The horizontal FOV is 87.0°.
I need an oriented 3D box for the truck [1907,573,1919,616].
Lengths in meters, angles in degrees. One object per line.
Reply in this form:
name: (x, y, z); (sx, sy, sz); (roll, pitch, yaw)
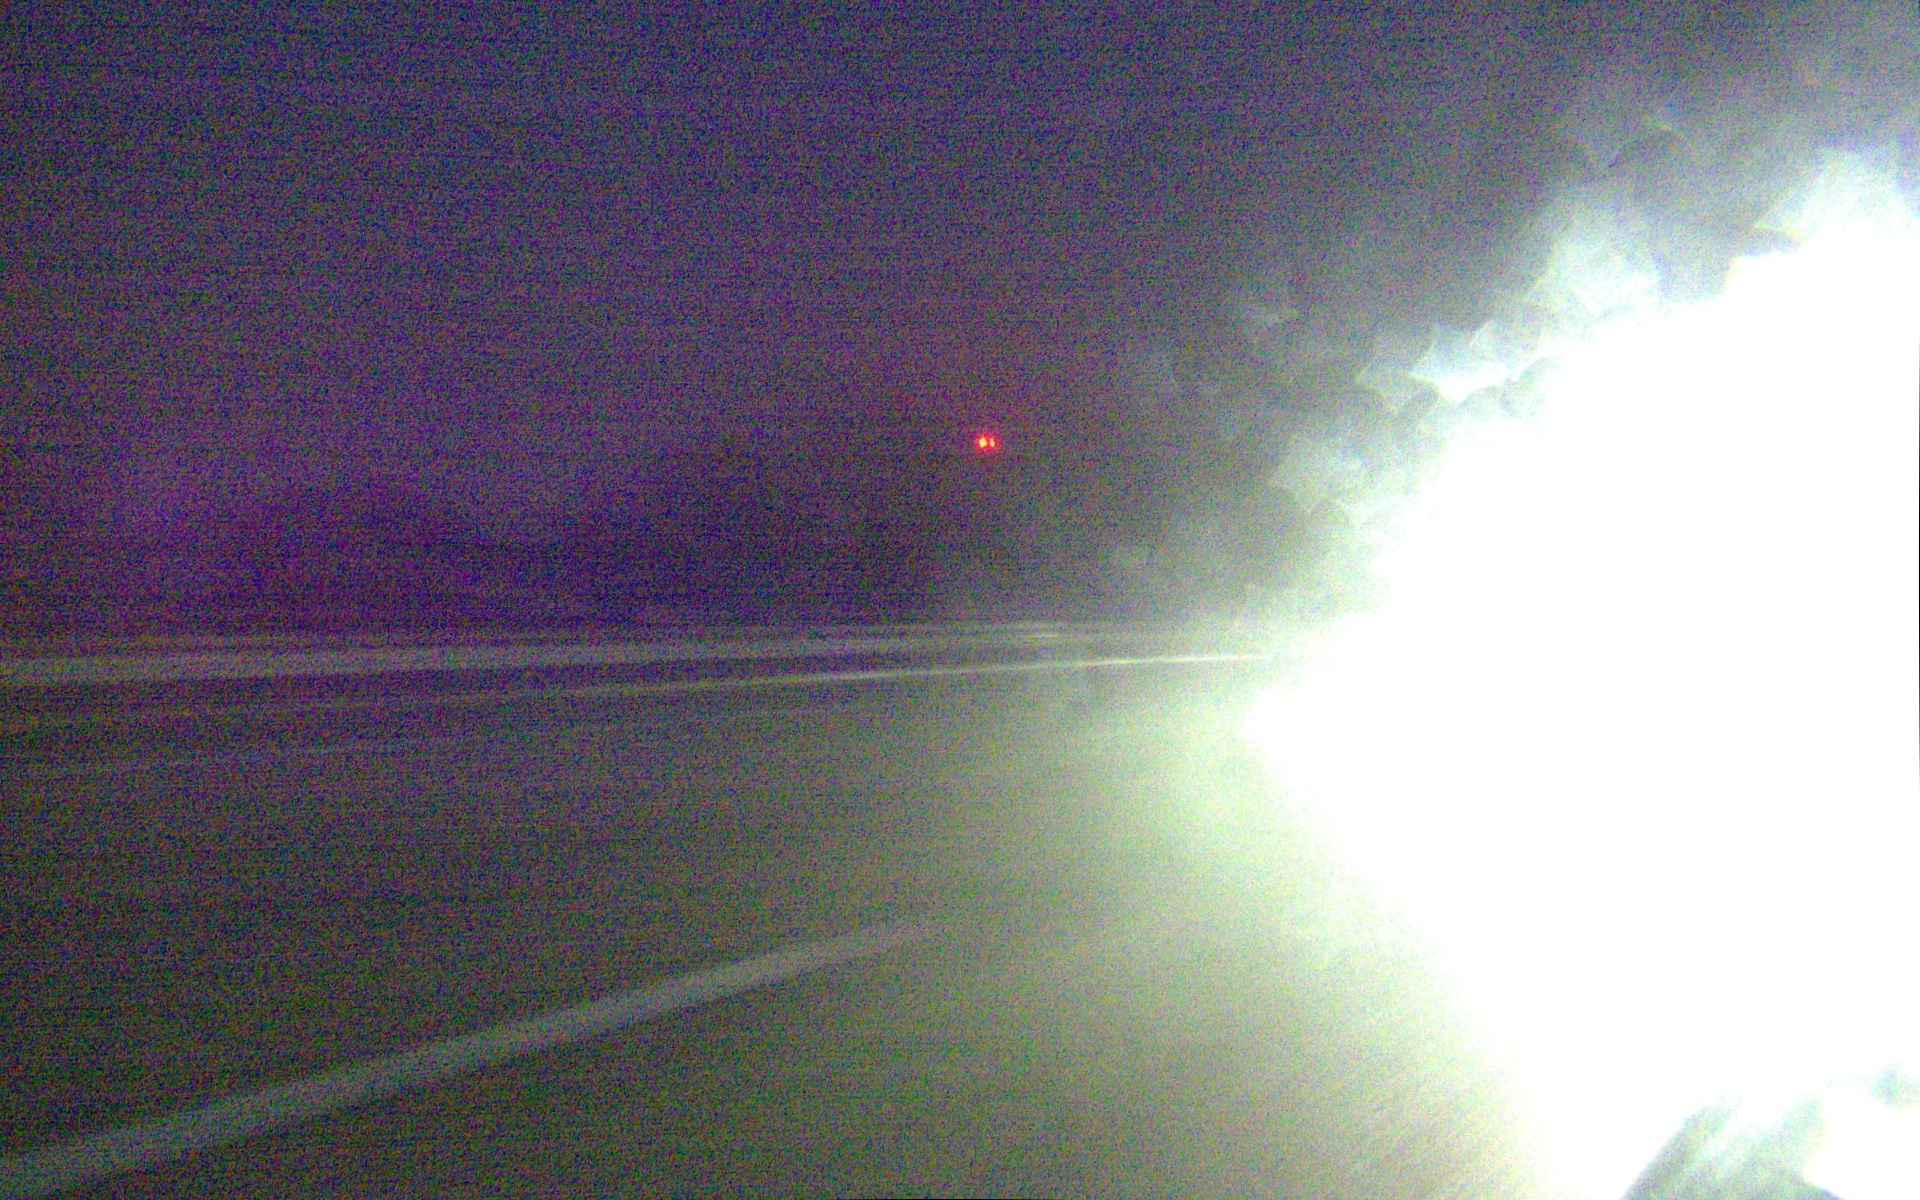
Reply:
truck: (97.444, -0.550, 101.891); (2.759, 4.273, 6.100); (4, 4, 42)

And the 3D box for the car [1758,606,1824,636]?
car: (42.907, 1.080, 52.221); (3.968, 1.516, 1.724); (1, -1, -37)

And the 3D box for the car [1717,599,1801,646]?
car: (29.590, 0.791, 37.448); (1.994, 1.466, 4.267); (3, 3, 44)

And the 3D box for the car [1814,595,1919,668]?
car: (21.726, 0.668, 23.636); (4.929, 1.538, 2.061); (0, 0, -42)
